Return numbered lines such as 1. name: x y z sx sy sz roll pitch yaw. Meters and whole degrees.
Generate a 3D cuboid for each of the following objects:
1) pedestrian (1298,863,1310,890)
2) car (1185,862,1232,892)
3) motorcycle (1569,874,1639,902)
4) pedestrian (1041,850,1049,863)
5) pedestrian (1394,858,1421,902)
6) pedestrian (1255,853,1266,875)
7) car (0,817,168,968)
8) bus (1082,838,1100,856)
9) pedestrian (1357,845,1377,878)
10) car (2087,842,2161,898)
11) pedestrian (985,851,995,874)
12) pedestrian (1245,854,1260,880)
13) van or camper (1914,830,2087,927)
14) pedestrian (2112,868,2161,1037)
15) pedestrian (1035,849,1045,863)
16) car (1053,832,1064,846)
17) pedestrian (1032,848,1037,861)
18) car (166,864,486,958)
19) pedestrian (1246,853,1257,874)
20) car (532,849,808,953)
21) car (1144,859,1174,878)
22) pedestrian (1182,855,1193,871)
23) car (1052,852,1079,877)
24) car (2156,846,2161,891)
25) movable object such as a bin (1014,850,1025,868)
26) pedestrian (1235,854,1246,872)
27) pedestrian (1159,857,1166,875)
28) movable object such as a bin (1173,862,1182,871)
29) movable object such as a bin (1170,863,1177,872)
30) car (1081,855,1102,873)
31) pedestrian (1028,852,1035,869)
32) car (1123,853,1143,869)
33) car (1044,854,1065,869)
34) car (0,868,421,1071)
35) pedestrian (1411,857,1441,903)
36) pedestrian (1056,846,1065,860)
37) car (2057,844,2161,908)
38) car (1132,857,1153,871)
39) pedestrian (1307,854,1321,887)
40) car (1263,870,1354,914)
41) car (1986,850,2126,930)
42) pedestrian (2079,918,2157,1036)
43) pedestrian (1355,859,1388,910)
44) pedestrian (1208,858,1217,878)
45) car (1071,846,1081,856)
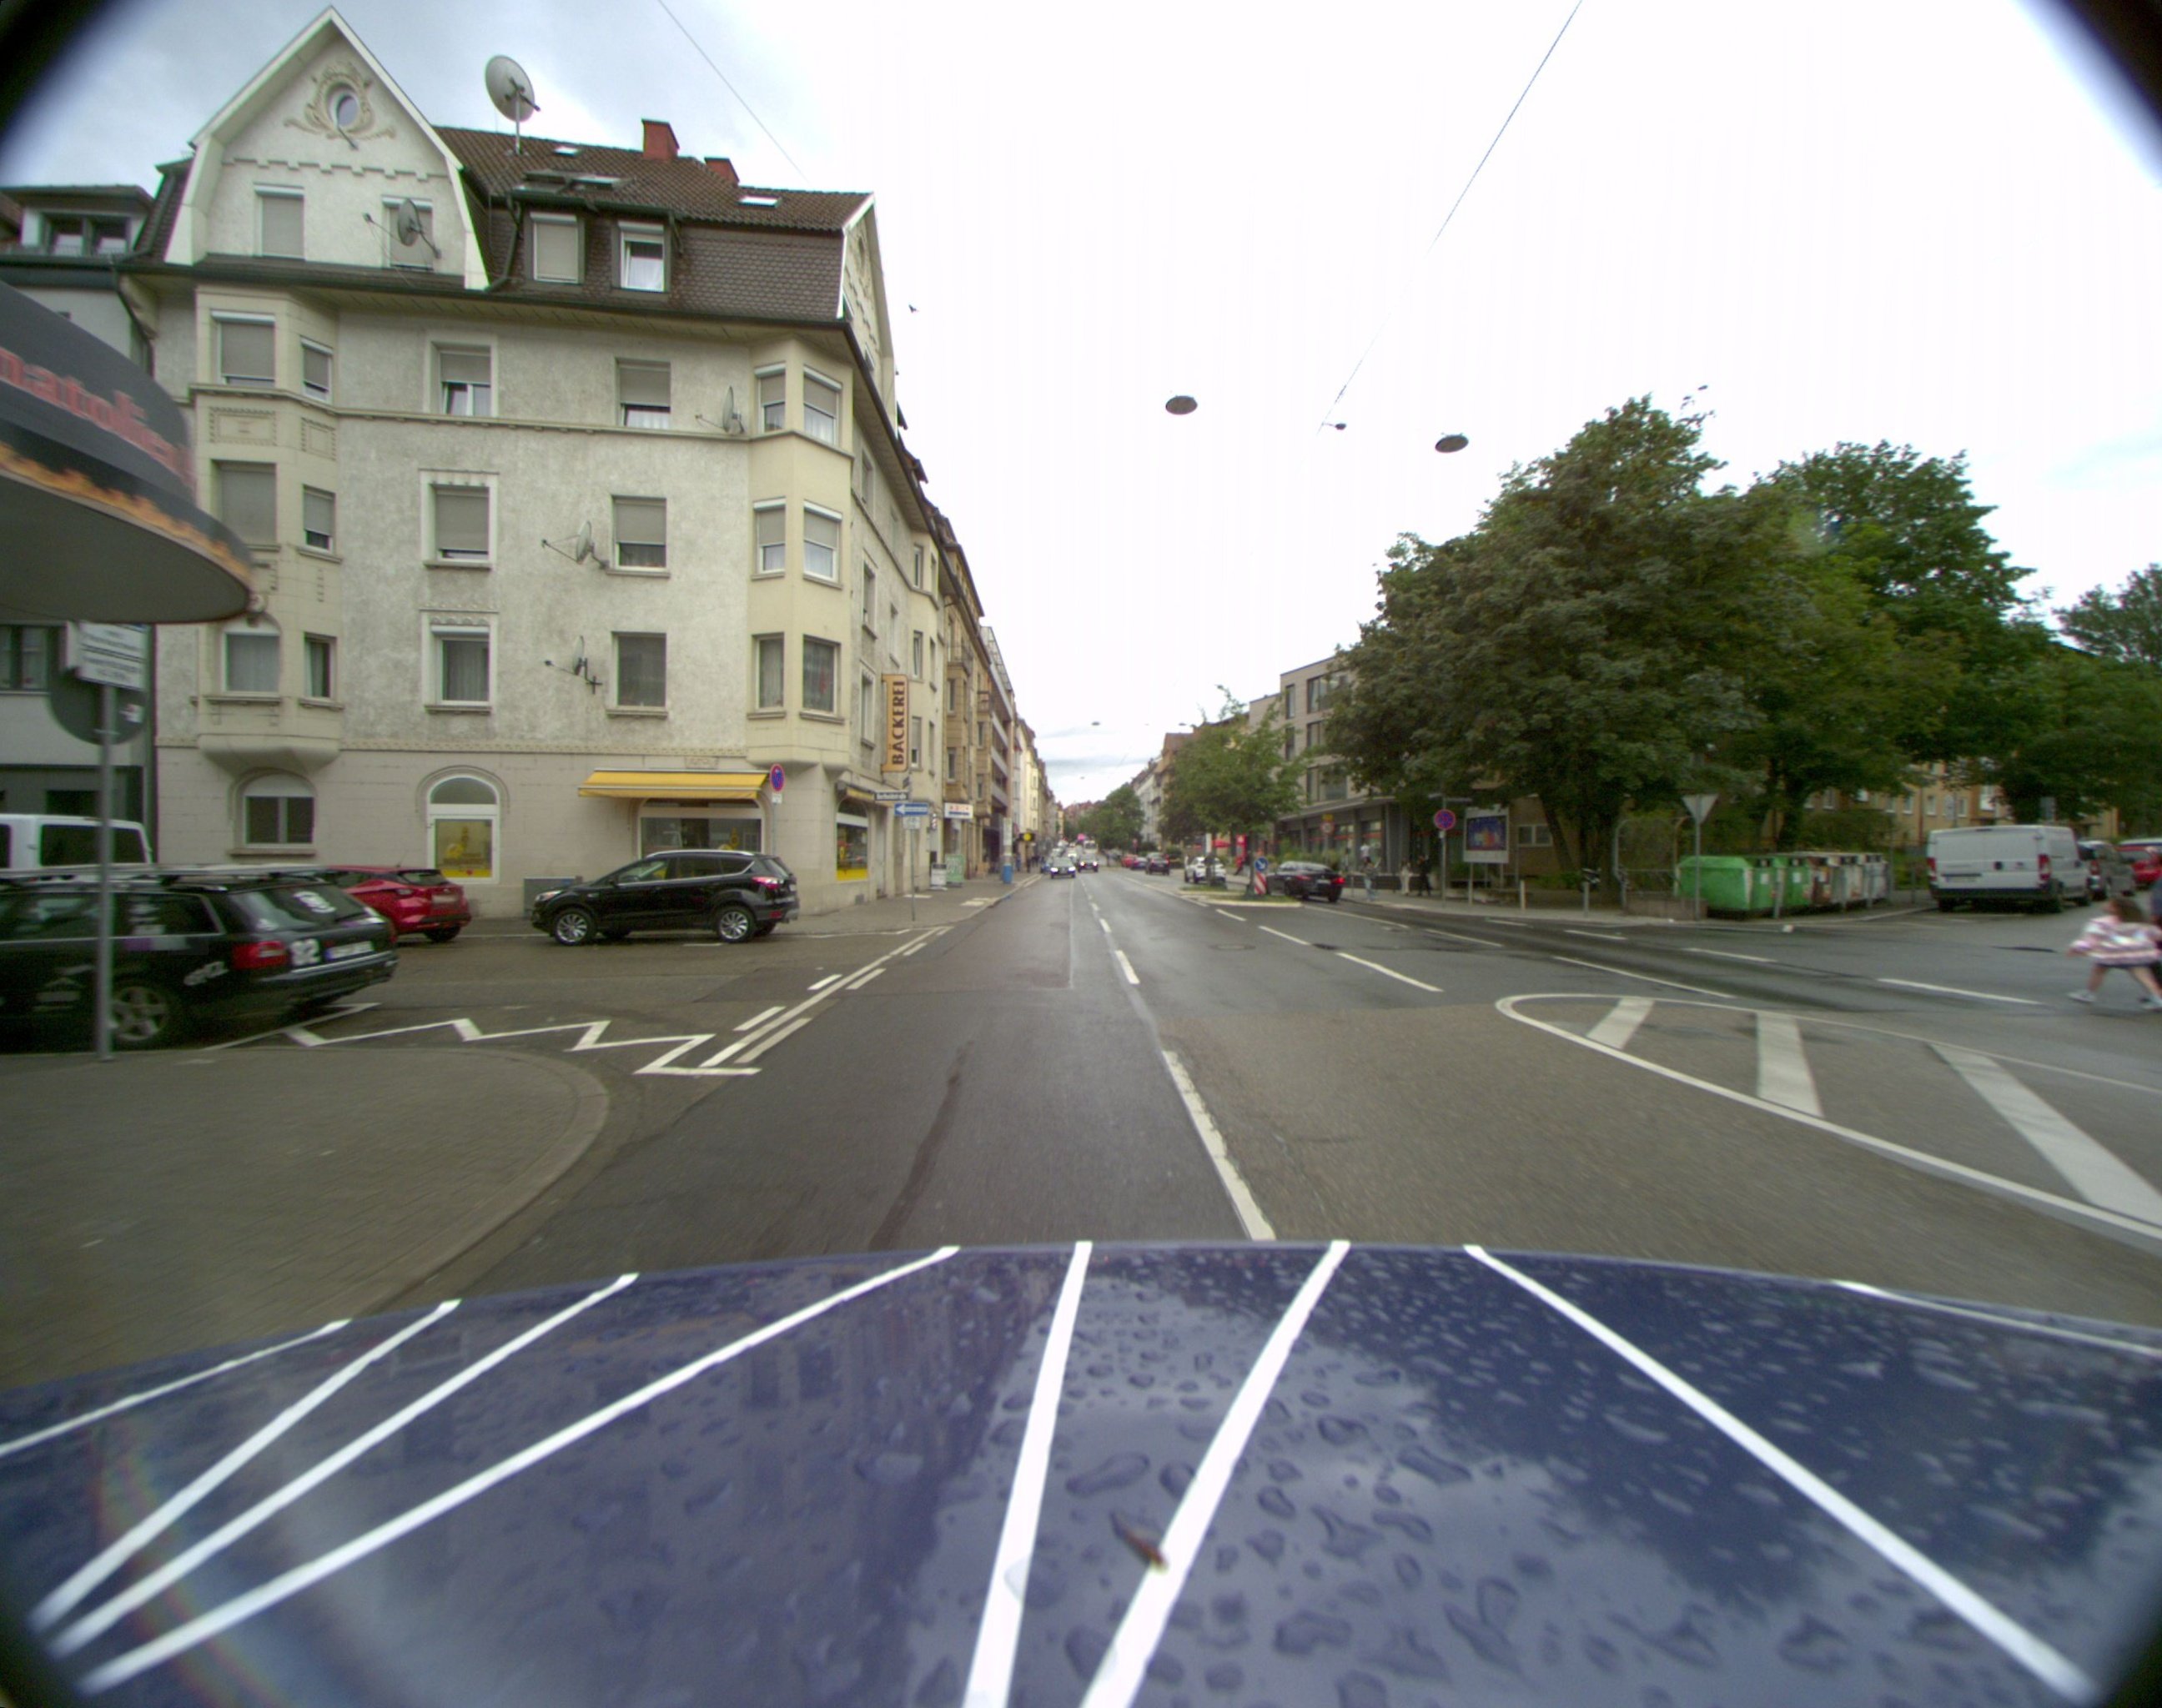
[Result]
1. pedestrian: 11.565 1.164 39.428 0.434 1.402 0.481 0 1 -4
2. car: 7.362 1.302 44.389 1.824 1.560 4.088 4 0 -2
3. motorcycle: 20.243 1.318 29.433 2.055 0.982 0.797 -3 0 14
4. pedestrian: -4.606 0.299 97.916 0.791 1.656 0.699 2 1 14
5. pedestrian: 13.355 1.056 31.076 0.658 1.749 0.719 0 1 -24
6. pedestrian: 14.050 0.781 59.459 0.711 1.669 0.801 0 1 27
7. car: -19.199 0.637 12.784 4.736 2.391 2.014 -1 1 -7
8. bus: 1.900 -1.467 149.450 2.813 3.228 11.958 4 1 -1
9. pedestrian: 15.761 0.416 41.915 0.724 1.815 0.720 -1 0 -29
10. car: 40.732 0.596 28.873 4.004 2.002 1.996 0 0 -22
11. pedestrian: -6.341 0.587 53.133 0.563 1.563 0.626 0 1 -17
12. pedestrian: 12.121 0.941 53.818 0.724 1.815 0.721 -1 0 -20
13. van or camper: 24.790 0.584 20.460 4.625 2.253 2.206 -2 1 -30
14. pedestrian: 11.588 1.035 8.042 0.576 1.752 0.581 0 1 -7
15. pedestrian: -5.235 0.270 96.868 0.856 1.738 1.061 1 1 -32
16. car: -5.727 -3.751 192.581 2.554 3.613 9.047 0 1 -2
17. pedestrian: -5.992 0.070 97.636 0.611 1.738 0.698 2 1 -1
18. car: -13.169 0.957 13.492 3.696 1.482 1.779 1 1 -7
19. pedestrian: 13.638 0.778 60.680 0.715 1.669 0.713 0 1 -1
20. car: -7.478 0.818 14.242 4.151 1.761 1.872 0 0 -8
21. car: 6.811 1.223 66.432 1.960 1.548 4.242 2 0 -3
22. pedestrian: 11.308 0.979 80.435 0.793 1.699 0.761 -3 1 -26
23. car: -1.096 0.704 54.574 1.734 1.539 3.980 -3 2 1
24. car: 51.162 0.674 34.376 4.004 2.002 1.996 0 0 -22
25. movable object such as a bin: -5.969 0.497 74.263 1.002 1.783 1.295 0 1 -3
26. pedestrian: 12.178 0.696 58.134 0.590 1.412 0.726 0 1 34
27. pedestrian: 9.523 1.416 88.941 0.703 2.002 0.782 -1 2 -5
28. movable object such as a bin: 11.566 1.559 91.462 0.743 1.052 0.811 -1 2 -26
29. movable object such as a bin: 11.227 1.614 92.298 0.742 1.052 0.579 0 1 3
30. car: 0.948 0.941 71.370 1.856 1.646 4.204 0 0 -1
31. pedestrian: -4.618 0.630 71.405 0.627 1.642 0.748 0 0 -1
32. car: 6.696 0.906 97.706 2.111 1.755 5.058 2 2 -1
33. car: -2.520 0.701 73.100 1.739 1.302 3.767 -2 1 1
34. car: -9.214 0.989 7.195 4.120 1.598 1.804 0 2 -7
35. pedestrian: 13.766 1.021 30.323 0.863 1.834 0.693 0 1 -15
36. pedestrian: -2.402 -0.099 89.702 0.701 1.637 0.785 3 1 33
37. car: 36.073 0.692 26.424 4.006 2.002 1.995 -2 1 -29
38. car: 6.743 1.075 83.670 1.959 1.503 4.913 1 0 2
39. pedestrian: 12.075 0.841 39.414 0.499 1.663 0.552 0 1 -4
40. car: 8.504 1.388 28.857 2.019 1.417 4.499 1 0 -1
41. car: 29.866 1.028 23.278 4.006 2.242 1.995 0 0 -29
42. pedestrian: 10.946 1.285 8.025 0.410 1.191 0.311 0 1 -7
43. pedestrian: 10.559 1.090 27.612 0.724 1.815 0.853 -1 0 -24
44. pedestrian: 11.970 1.303 69.308 0.591 1.809 0.869 0 1 -9
45. car: -0.939 -0.549 144.030 1.796 1.768 3.902 0 1 -2
